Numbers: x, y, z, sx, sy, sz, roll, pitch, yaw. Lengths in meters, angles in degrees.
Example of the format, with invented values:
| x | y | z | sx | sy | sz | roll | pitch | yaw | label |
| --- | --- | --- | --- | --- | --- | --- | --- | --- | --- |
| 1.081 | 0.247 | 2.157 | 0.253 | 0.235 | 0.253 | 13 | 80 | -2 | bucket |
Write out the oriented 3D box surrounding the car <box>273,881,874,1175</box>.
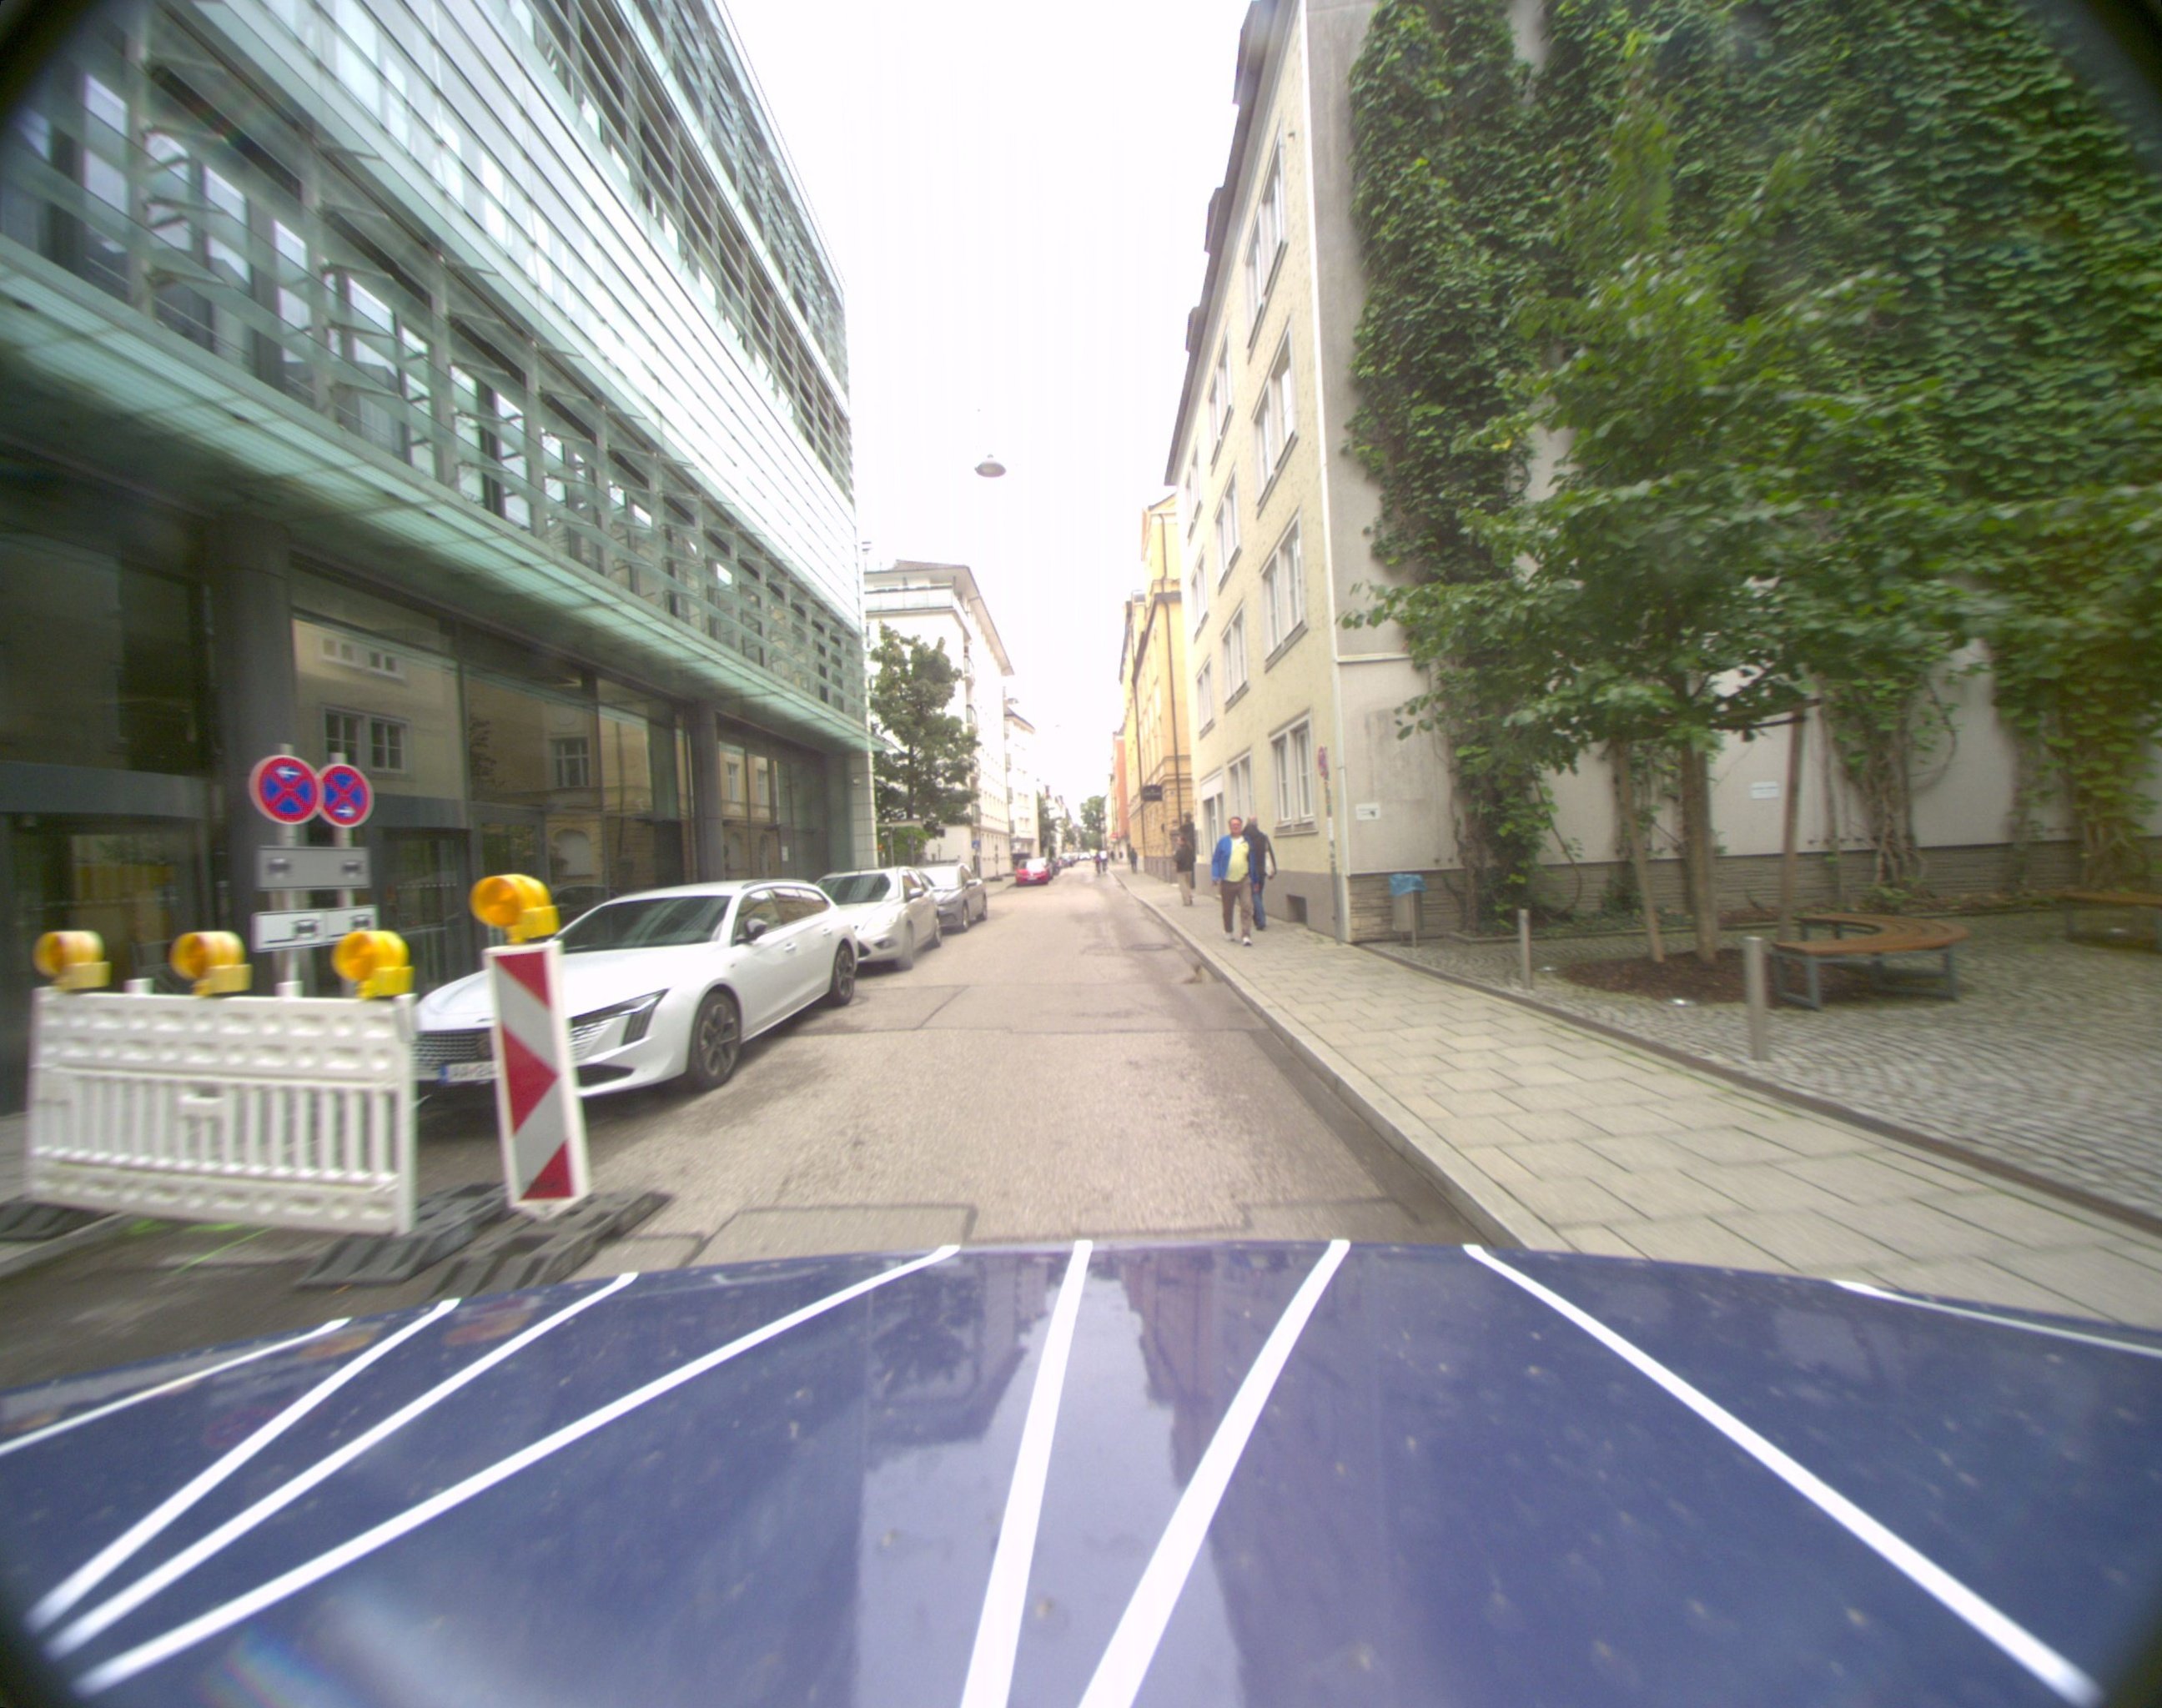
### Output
| x | y | z | sx | sy | sz | roll | pitch | yaw | label |
| --- | --- | --- | --- | --- | --- | --- | --- | --- | --- |
| -3.509 | 1.074 | 6.634 | 1.998 | 1.366 | 4.658 | -3 | 0 | 1 | car |

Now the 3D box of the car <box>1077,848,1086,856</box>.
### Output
| x | y | z | sx | sy | sz | roll | pitch | yaw | label |
| --- | --- | --- | --- | --- | --- | --- | --- | --- | --- |
| 0.121 | -0.453 | 183.443 | 1.998 | 1.844 | 4.391 | -3 | 0 | 1 | car |

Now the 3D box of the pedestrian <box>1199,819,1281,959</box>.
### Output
| x | y | z | sx | sy | sz | roll | pitch | yaw | label |
| --- | --- | --- | --- | --- | --- | --- | --- | --- | --- |
| 2.215 | 0.469 | 10.731 | 0.861 | 1.834 | 0.974 | -4 | 1 | 3 | pedestrian |

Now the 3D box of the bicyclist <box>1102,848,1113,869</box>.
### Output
| x | y | z | sx | sy | sz | roll | pitch | yaw | label |
| --- | --- | --- | --- | --- | --- | --- | --- | --- | --- |
| 1.897 | 0.315 | 54.496 | 0.718 | 1.399 | 0.965 | -3 | 1 | 0 | bicyclist |

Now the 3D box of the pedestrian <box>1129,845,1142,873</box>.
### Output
| x | y | z | sx | sy | sz | roll | pitch | yaw | label |
| --- | --- | --- | --- | --- | --- | --- | --- | --- | --- |
| 3.485 | 0.322 | 48.849 | 0.700 | 1.696 | 0.768 | -3 | 1 | 1 | pedestrian |

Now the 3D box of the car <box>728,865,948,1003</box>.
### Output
| x | y | z | sx | sy | sz | roll | pitch | yaw | label |
| --- | --- | --- | --- | --- | --- | --- | --- | --- | --- |
| -3.407 | 1.029 | 11.648 | 1.999 | 1.478 | 4.277 | -5 | 0 | -2 | car |

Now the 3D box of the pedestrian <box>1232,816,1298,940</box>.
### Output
| x | y | z | sx | sy | sz | roll | pitch | yaw | label |
| --- | --- | --- | --- | --- | --- | --- | --- | --- | --- |
| 2.957 | 0.372 | 12.316 | 0.744 | 1.891 | 0.879 | -4 | 1 | 1 | pedestrian |

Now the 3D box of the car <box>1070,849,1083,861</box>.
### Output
| x | y | z | sx | sy | sz | roll | pitch | yaw | label |
| --- | --- | --- | --- | --- | --- | --- | --- | --- | --- |
| -0.684 | 0.220 | 126.454 | 1.998 | 1.844 | 4.391 | -3 | 0 | 1 | car |

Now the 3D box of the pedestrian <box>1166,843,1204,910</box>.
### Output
| x | y | z | sx | sy | sz | roll | pitch | yaw | label |
| --- | --- | --- | --- | --- | --- | --- | --- | --- | --- |
| 2.512 | 0.540 | 18.369 | 0.710 | 1.542 | 0.776 | -4 | 1 | 0 | pedestrian |

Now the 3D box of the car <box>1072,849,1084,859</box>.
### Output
| x | y | z | sx | sy | sz | roll | pitch | yaw | label |
| --- | --- | --- | --- | --- | --- | --- | --- | --- | --- |
| -0.580 | -0.042 | 149.169 | 1.998 | 1.844 | 4.391 | -3 | 0 | 1 | car |

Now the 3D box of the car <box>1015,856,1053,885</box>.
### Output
| x | y | z | sx | sy | sz | roll | pitch | yaw | label |
| --- | --- | --- | --- | --- | --- | --- | --- | --- | --- |
| -2.603 | 0.899 | 42.919 | 1.809 | 1.390 | 4.000 | -3 | 0 | 1 | car |

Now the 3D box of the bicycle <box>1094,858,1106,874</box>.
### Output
| x | y | z | sx | sy | sz | roll | pitch | yaw | label |
| --- | --- | --- | --- | --- | --- | --- | --- | --- | --- |
| 1.286 | 0.817 | 52.322 | 0.700 | 0.976 | 1.949 | -3 | 0 | 0 | bicycle |

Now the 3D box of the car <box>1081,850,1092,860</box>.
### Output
| x | y | z | sx | sy | sz | roll | pitch | yaw | label |
| --- | --- | --- | --- | --- | --- | --- | --- | --- | --- |
| 1.040 | 0.201 | 140.639 | 1.998 | 1.583 | 4.375 | -3 | 0 | 1 | car |

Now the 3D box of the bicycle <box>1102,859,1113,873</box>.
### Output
| x | y | z | sx | sy | sz | roll | pitch | yaw | label |
| --- | --- | --- | --- | --- | --- | --- | --- | --- | --- |
| 1.925 | 0.834 | 54.626 | 0.700 | 0.926 | 1.694 | -3 | 0 | 0 | bicycle |

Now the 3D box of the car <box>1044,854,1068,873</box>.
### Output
| x | y | z | sx | sy | sz | roll | pitch | yaw | label |
| --- | --- | --- | --- | --- | --- | --- | --- | --- | --- |
| -1.909 | 0.726 | 59.902 | 1.625 | 1.259 | 4.329 | -3 | 0 | 1 | car |

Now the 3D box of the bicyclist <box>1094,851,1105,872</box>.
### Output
| x | y | z | sx | sy | sz | roll | pitch | yaw | label |
| --- | --- | --- | --- | --- | --- | --- | --- | --- | --- |
| 1.266 | 0.517 | 52.133 | 0.700 | 1.399 | 0.768 | -3 | 1 | 0 | bicyclist |

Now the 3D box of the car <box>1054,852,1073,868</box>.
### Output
| x | y | z | sx | sy | sz | roll | pitch | yaw | label |
| --- | --- | --- | --- | --- | --- | --- | --- | --- | --- |
| -1.842 | 0.623 | 82.484 | 1.793 | 1.550 | 4.000 | -3 | 0 | 1 | car |

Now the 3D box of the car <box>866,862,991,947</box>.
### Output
| x | y | z | sx | sy | sz | roll | pitch | yaw | label |
| --- | --- | --- | --- | --- | --- | --- | --- | --- | --- |
| -3.199 | 0.998 | 16.832 | 1.877 | 1.477 | 4.278 | -3 | 0 | -1 | car |
